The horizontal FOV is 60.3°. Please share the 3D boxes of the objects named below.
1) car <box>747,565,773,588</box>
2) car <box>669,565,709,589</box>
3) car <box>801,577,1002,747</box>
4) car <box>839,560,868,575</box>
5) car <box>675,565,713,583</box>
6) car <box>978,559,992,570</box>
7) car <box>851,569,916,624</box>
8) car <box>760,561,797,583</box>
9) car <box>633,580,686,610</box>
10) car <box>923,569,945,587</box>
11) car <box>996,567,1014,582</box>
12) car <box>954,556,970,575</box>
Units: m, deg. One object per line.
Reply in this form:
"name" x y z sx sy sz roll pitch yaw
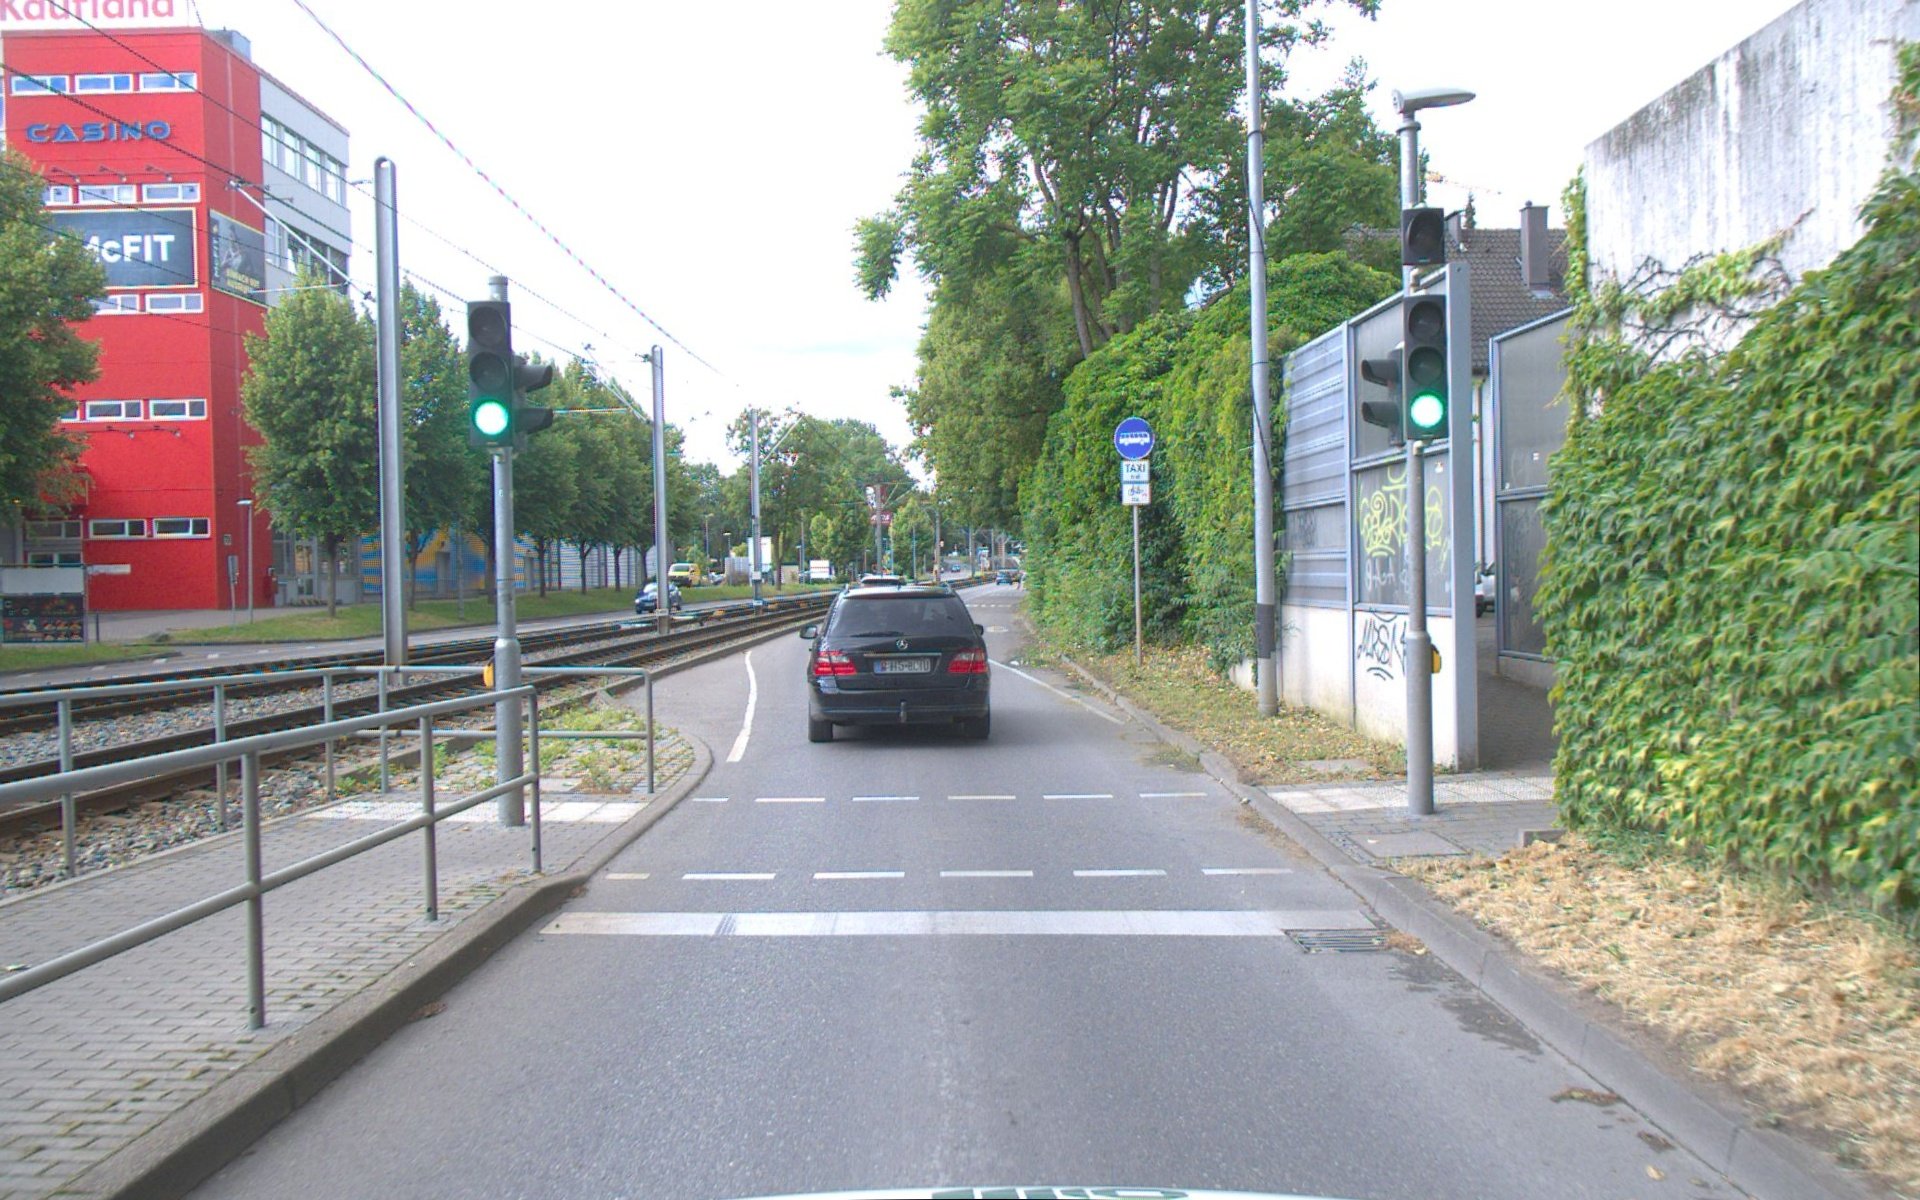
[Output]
"car" -19.415 -2.262 160.468 1.953 2.048 4.000 -3 1 0
"car" -21.214 -1.791 129.505 1.952 1.773 4.990 -2 1 4
"car" -0.506 0.532 17.110 1.795 1.503 4.416 -1 1 1
"car" -13.690 -4.156 212.886 3.623 1.847 1.792 -1 1 -8
"car" -29.640 -2.906 184.355 3.922 1.709 1.992 -3 1 -15
"car" 3.516 -5.002 232.375 1.787 1.556 4.180 0 1 1
"car" -2.278 -0.149 49.930 1.788 1.556 4.415 0 1 -1
"car" -19.773 -3.062 180.477 3.910 2.160 1.998 -3 1 -5
"car" -14.728 -0.257 81.160 1.624 1.417 3.721 -1 1 5
"car" -2.347 -1.984 149.789 1.787 1.556 3.987 0 1 1
"car" 4.567 -2.622 169.270 1.787 1.556 4.417 0 1 1
"car" 0.228 -4.042 194.790 1.853 2.048 3.898 -3 1 0
